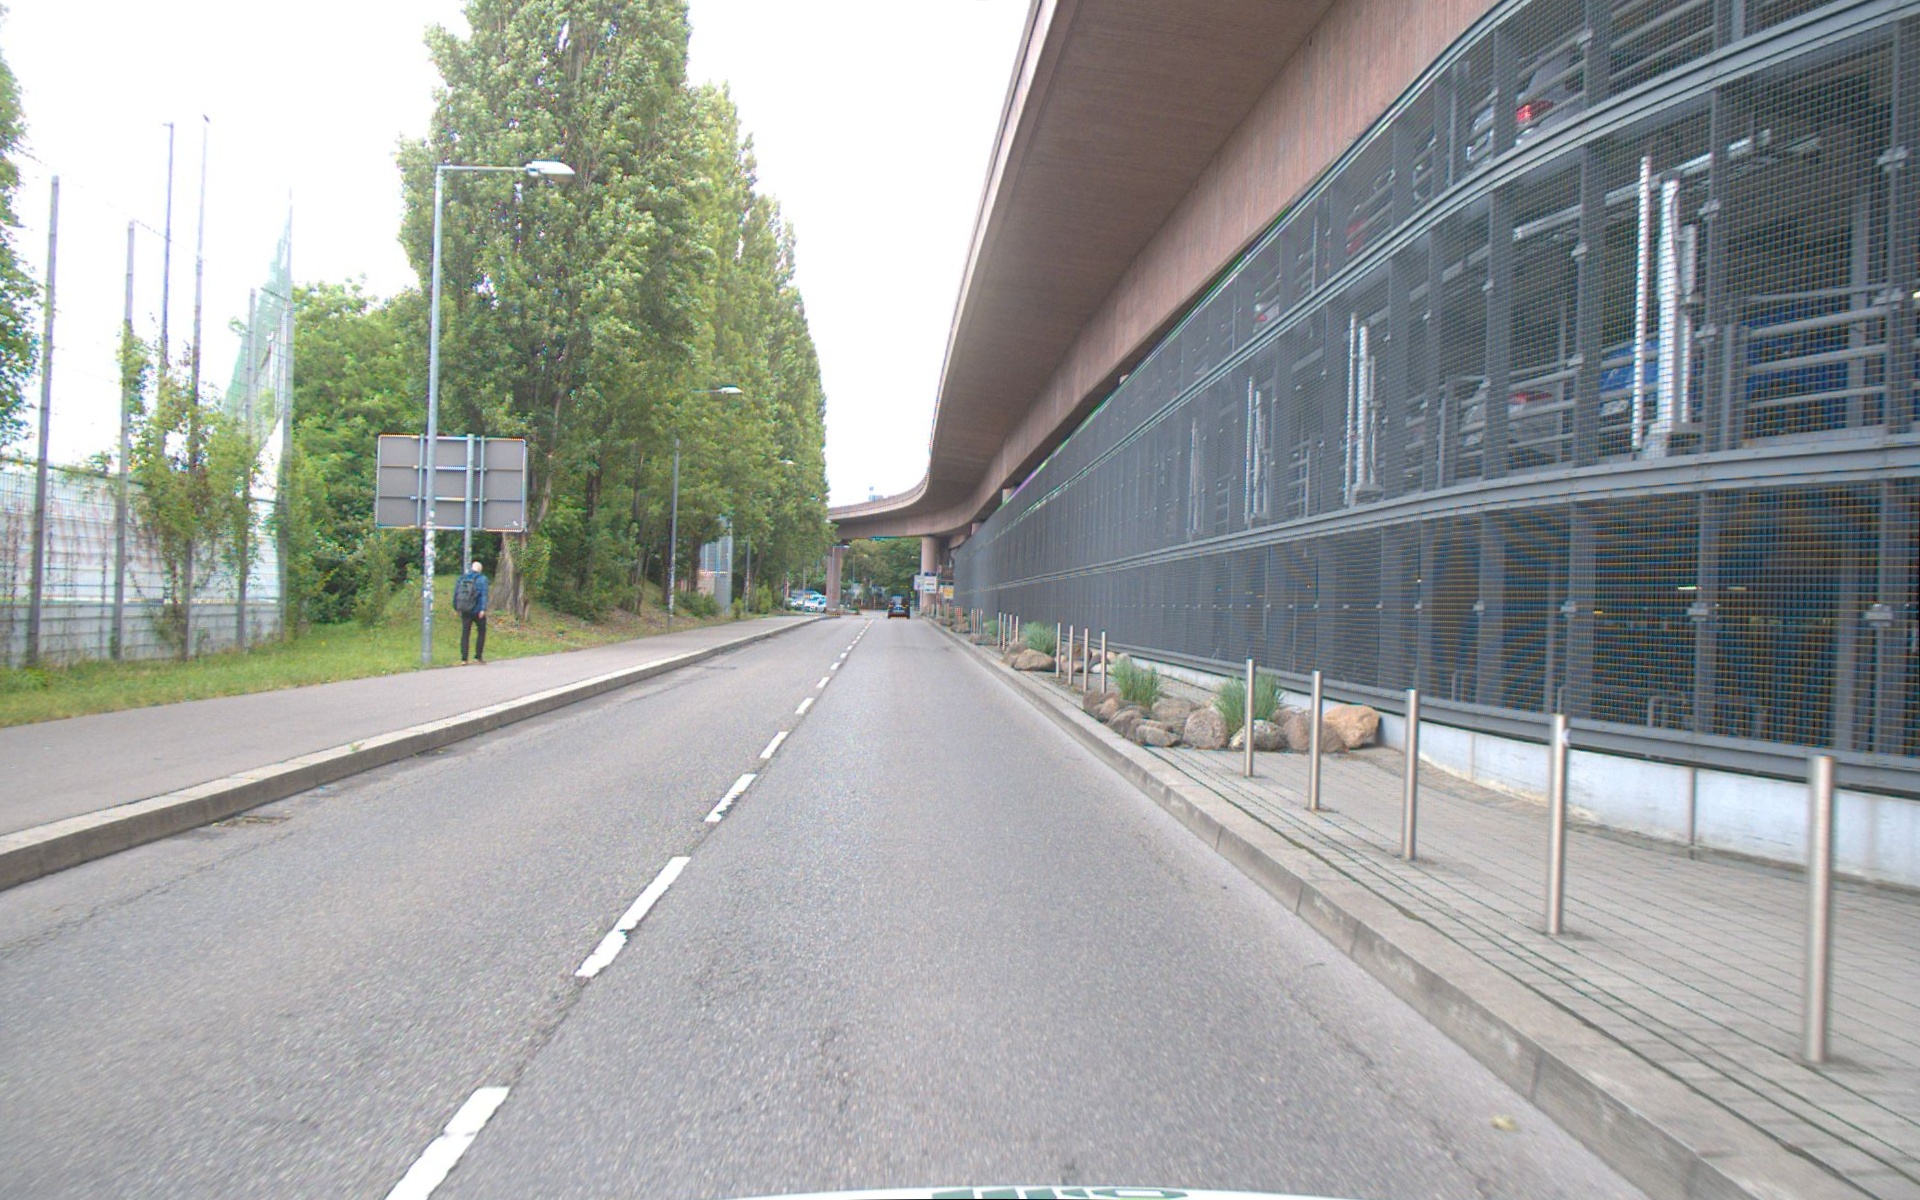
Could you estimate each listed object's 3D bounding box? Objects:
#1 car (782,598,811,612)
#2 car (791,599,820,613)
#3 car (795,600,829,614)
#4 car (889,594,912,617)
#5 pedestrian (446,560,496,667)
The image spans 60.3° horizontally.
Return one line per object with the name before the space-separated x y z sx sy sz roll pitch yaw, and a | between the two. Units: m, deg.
car | -21.165 0.577 214.101 1.693 1.746 3.655 2 1 38
car | -19.641 0.725 210.603 1.693 1.746 3.655 2 1 38
car | -18.403 0.857 206.220 1.850 1.746 4.134 2 1 38
car | -4.826 0.445 133.482 1.802 1.741 3.704 1 1 -2
pedestrian | -8.513 0.225 28.828 0.791 1.812 0.916 1 1 -16
